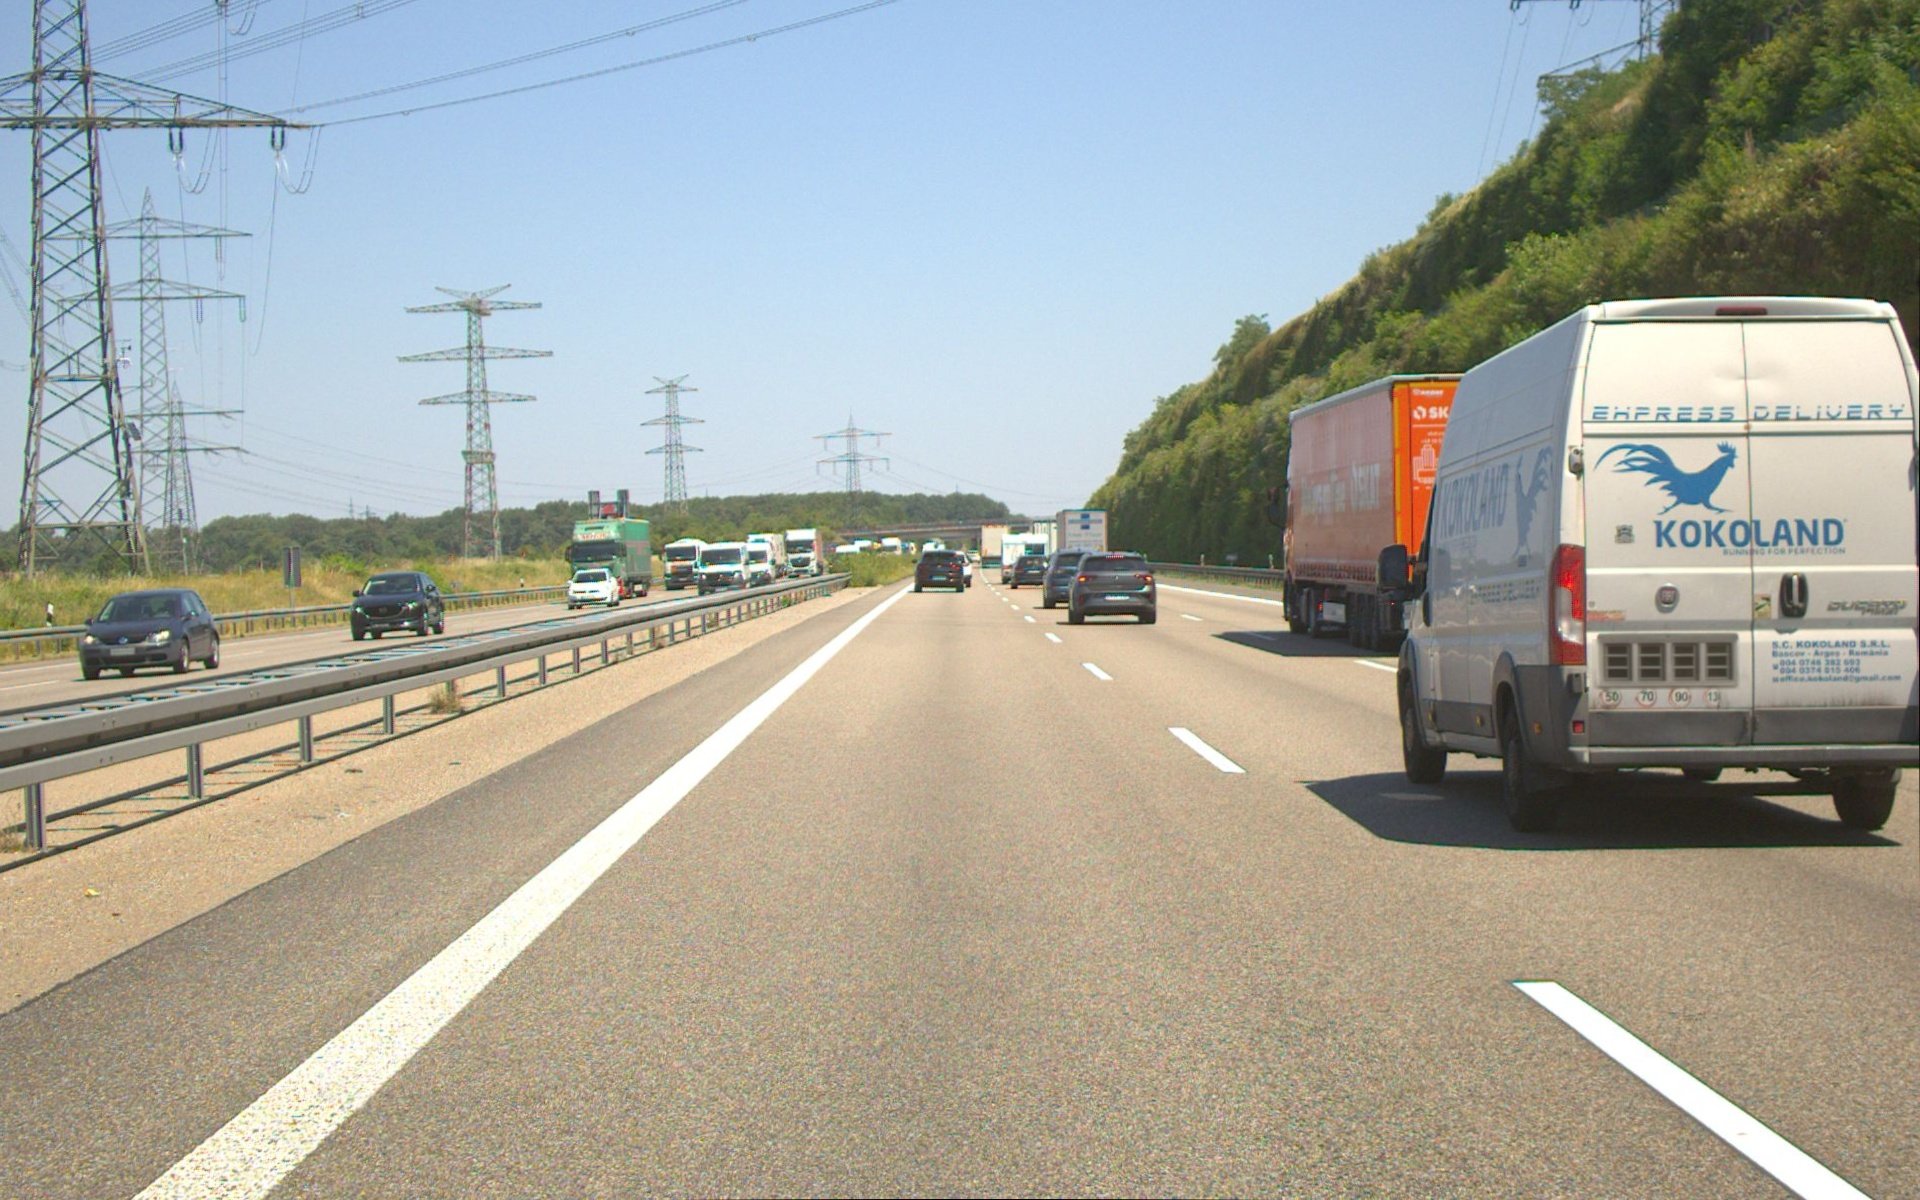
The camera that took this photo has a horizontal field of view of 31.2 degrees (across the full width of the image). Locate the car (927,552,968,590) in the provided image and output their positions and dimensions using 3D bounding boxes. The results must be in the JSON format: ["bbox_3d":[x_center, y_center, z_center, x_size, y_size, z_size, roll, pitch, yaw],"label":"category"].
[{"bbox_3d":[-0.573,-1.335,157.862,1.830,1.665,4.000,-2,1,0],"label":"car"}]

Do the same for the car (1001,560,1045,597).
[{"bbox_3d":[2.743,-0.949,150.193,1.830,1.520,4.000,-2,1,1],"label":"car"}]

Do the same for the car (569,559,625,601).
[{"bbox_3d":[-14.491,-0.828,137.316,1.707,1.518,4.514,-4,1,-1],"label":"car"}]

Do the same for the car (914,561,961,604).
[{"bbox_3d":[-0.899,-0.711,139.536,1.830,1.665,4.000,-2,1,0],"label":"car"}]

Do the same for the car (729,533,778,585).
[{"bbox_3d":[-10.346,-2.072,172.768,2.047,2.430,6.070,-3,1,-1],"label":"car"}]

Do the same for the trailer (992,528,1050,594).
[{"bbox_3d":[3.063,-1.999,174.957,2.610,3.202,9.953,-2,1,0],"label":"trailer"}]

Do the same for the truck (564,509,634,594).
[{"bbox_3d":[-18.099,-2.450,172.798,2.699,4.120,6.581,-2,1,0],"label":"truck"}]

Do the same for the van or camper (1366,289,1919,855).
[{"bbox_3d":[3.906,-0.196,20.323,2.096,2.759,6.757,-1,1,-1],"label":"van or camper"}]

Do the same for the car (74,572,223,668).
[{"bbox_3d":[-14.120,0.325,60.007,1.617,1.455,4.285,-4,1,-2],"label":"car"}]

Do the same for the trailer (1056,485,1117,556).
[{"bbox_3d":[7.648,-4.770,208.902,3.183,4.107,13.431,-2,1,0],"label":"trailer"}]

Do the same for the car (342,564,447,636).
[{"bbox_3d":[-14.337,-0.025,87.339,1.840,1.624,4.414,-4,1,0],"label":"car"}]

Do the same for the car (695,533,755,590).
[{"bbox_3d":[-9.968,-1.669,146.365,2.108,2.290,6.707,-2,1,-1],"label":"car"}]

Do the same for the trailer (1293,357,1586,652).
[{"bbox_3d":[7.201,-1.410,53.701,2.645,3.991,13.606,-1,1,0],"label":"trailer"}]

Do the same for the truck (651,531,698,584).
[{"bbox_3d":[-18.780,-2.792,226.447,2.483,3.367,6.211,-2,1,0],"label":"truck"}]

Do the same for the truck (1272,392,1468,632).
[{"bbox_3d":[7.180,-1.530,60.990,2.618,3.979,6.527,-1,1,0],"label":"truck"}]

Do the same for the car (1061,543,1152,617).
[{"bbox_3d":[3.136,-0.449,74.436,1.749,1.520,3.995,-1,1,0],"label":"car"}]

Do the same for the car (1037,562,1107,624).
[{"bbox_3d":[3.102,-0.202,95.850,1.794,1.647,4.138,-1,1,0],"label":"car"}]
